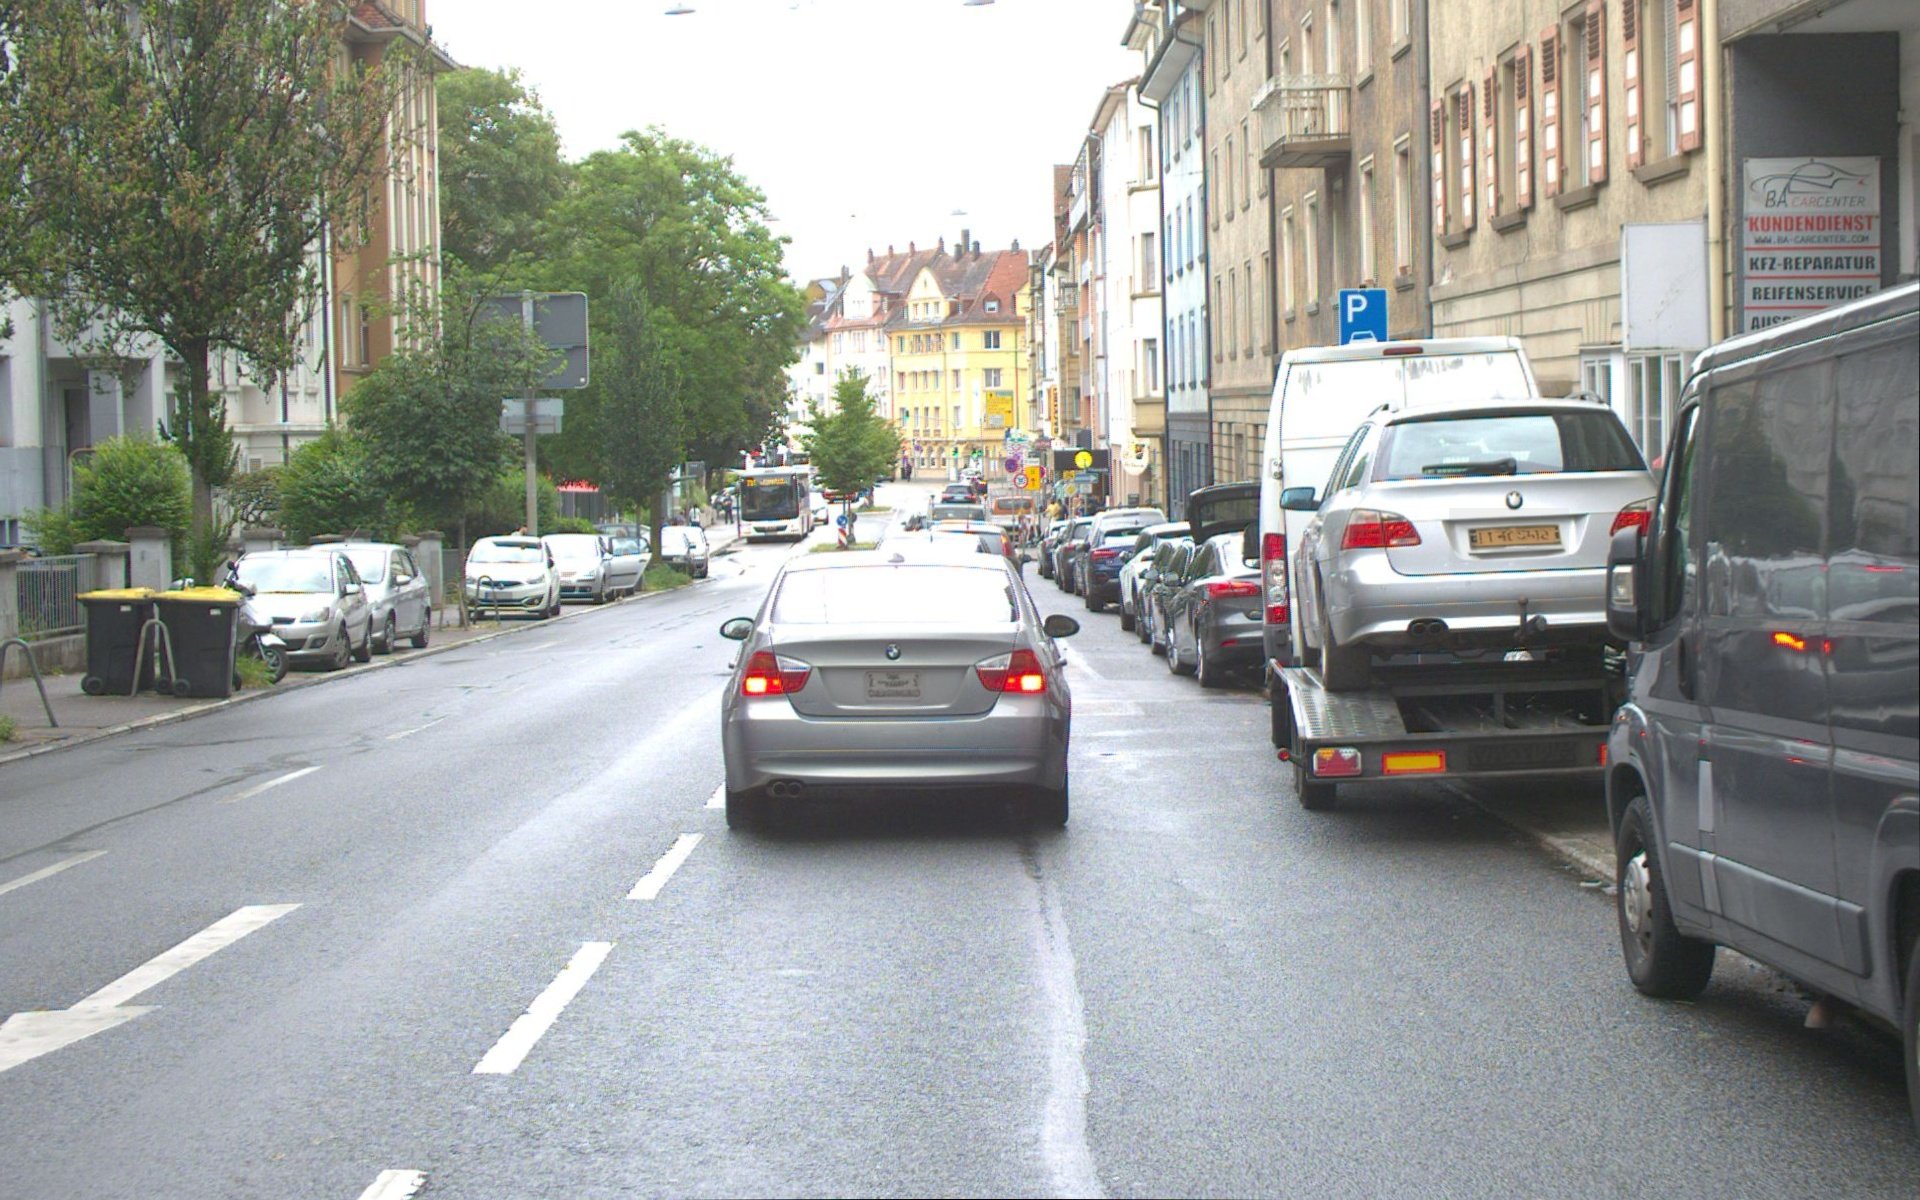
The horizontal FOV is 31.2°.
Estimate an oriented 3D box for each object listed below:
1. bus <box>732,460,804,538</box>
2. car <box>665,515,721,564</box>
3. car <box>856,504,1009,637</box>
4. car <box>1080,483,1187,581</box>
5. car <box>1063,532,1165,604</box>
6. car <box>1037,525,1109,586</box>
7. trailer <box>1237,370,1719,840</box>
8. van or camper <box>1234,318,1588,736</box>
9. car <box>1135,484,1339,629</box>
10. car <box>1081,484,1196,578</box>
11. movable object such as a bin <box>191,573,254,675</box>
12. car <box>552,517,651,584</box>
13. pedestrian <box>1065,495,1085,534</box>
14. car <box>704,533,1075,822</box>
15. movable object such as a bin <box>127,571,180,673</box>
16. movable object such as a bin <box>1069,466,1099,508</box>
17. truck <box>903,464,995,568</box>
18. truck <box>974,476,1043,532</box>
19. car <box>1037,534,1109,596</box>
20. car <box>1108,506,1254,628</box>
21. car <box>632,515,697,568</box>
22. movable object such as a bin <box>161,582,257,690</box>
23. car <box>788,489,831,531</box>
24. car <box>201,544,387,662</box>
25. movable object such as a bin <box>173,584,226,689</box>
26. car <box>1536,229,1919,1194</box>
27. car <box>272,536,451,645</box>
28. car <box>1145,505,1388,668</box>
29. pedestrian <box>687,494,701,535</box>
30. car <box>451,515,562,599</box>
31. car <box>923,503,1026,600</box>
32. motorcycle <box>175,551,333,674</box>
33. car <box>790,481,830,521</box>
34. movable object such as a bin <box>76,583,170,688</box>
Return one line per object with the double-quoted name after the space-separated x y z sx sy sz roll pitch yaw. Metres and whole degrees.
-8.454 -4.412 152.548 2.681 3.189 11.957 2 1 -1 "bus"
-8.023 -1.837 103.609 1.631 1.449 3.840 0 2 -4 "car"
-0.354 -0.349 39.685 1.601 1.415 3.288 2 1 -3 "car"
3.380 -1.357 67.675 1.790 1.811 4.080 -2 2 0 "car"
3.298 -0.717 74.366 1.840 1.404 4.388 -3 1 -1 "car"
3.122 -1.255 95.567 1.818 1.552 4.293 -2 1 0 "car"
2.666 -0.078 18.878 1.994 2.145 5.072 -3 2 3 "trailer"
3.210 -0.569 25.726 2.184 2.690 6.419 -1 2 4 "van or camper"
3.119 -0.529 39.549 1.777 1.474 4.588 -3 1 -1 "car"
3.151 -1.249 61.282 1.790 1.543 4.226 -2 2 0 "car"
-7.807 0.248 36.407 0.524 1.054 0.483 2 0 1 "movable object such as a bin"
-7.621 -1.084 73.418 1.682 1.385 3.909 0 1 0 "car"
4.945 -3.672 147.873 0.750 1.655 0.754 2 0 6 "pedestrian"
-0.348 0.354 17.995 1.756 1.358 3.165 1 1 0 "car"
-8.542 0.235 36.418 0.471 1.054 0.484 2 0 -9 "movable object such as a bin"
5.265 -4.795 146.145 1.122 1.697 1.434 -2 1 -3 "movable object such as a bin"
-0.318 -2.160 89.578 2.216 2.535 4.780 2 1 -1 "truck"
1.945 -3.887 139.043 2.215 2.109 4.653 3 1 -5 "truck"
2.842 -0.898 86.942 1.583 1.424 3.595 -3 2 0 "car"
3.140 -0.500 49.532 1.632 1.633 4.196 2 1 -2 "car"
-8.470 -1.698 98.687 1.653 1.449 3.943 -1 2 -2 "car"
-7.590 0.363 34.758 0.825 1.054 0.483 2 0 1 "movable object such as a bin"
-7.677 -4.602 175.650 1.993 2.007 4.000 3 1 -1 "car"
-8.229 0.017 42.758 1.600 1.392 3.888 0 1 -1 "car"
-7.860 0.377 35.557 0.471 1.054 0.484 2 0 -9 "movable object such as a bin"
3.170 0.191 9.351 2.153 2.141 5.511 -2 1 -1 "car"
-8.301 -0.151 47.957 1.601 1.446 3.887 0 1 3 "car"
2.940 -0.152 33.790 1.777 1.474 4.190 -1 1 -3 "car"
-11.363 -3.647 146.797 0.542 1.703 0.466 2 0 -7 "pedestrian"
-8.321 -0.792 63.319 1.646 1.503 3.797 0 1 -2 "car"
0.247 -0.715 51.369 1.436 1.352 3.762 2 1 1 "car"
-7.812 0.131 37.993 1.810 1.310 0.740 0 2 41 "motorcycle"
-8.211 -5.419 188.412 1.993 2.007 4.000 2 1 -1 "car"
-8.576 0.362 35.242 0.825 1.054 0.483 1 0 1 "movable object such as a bin"
